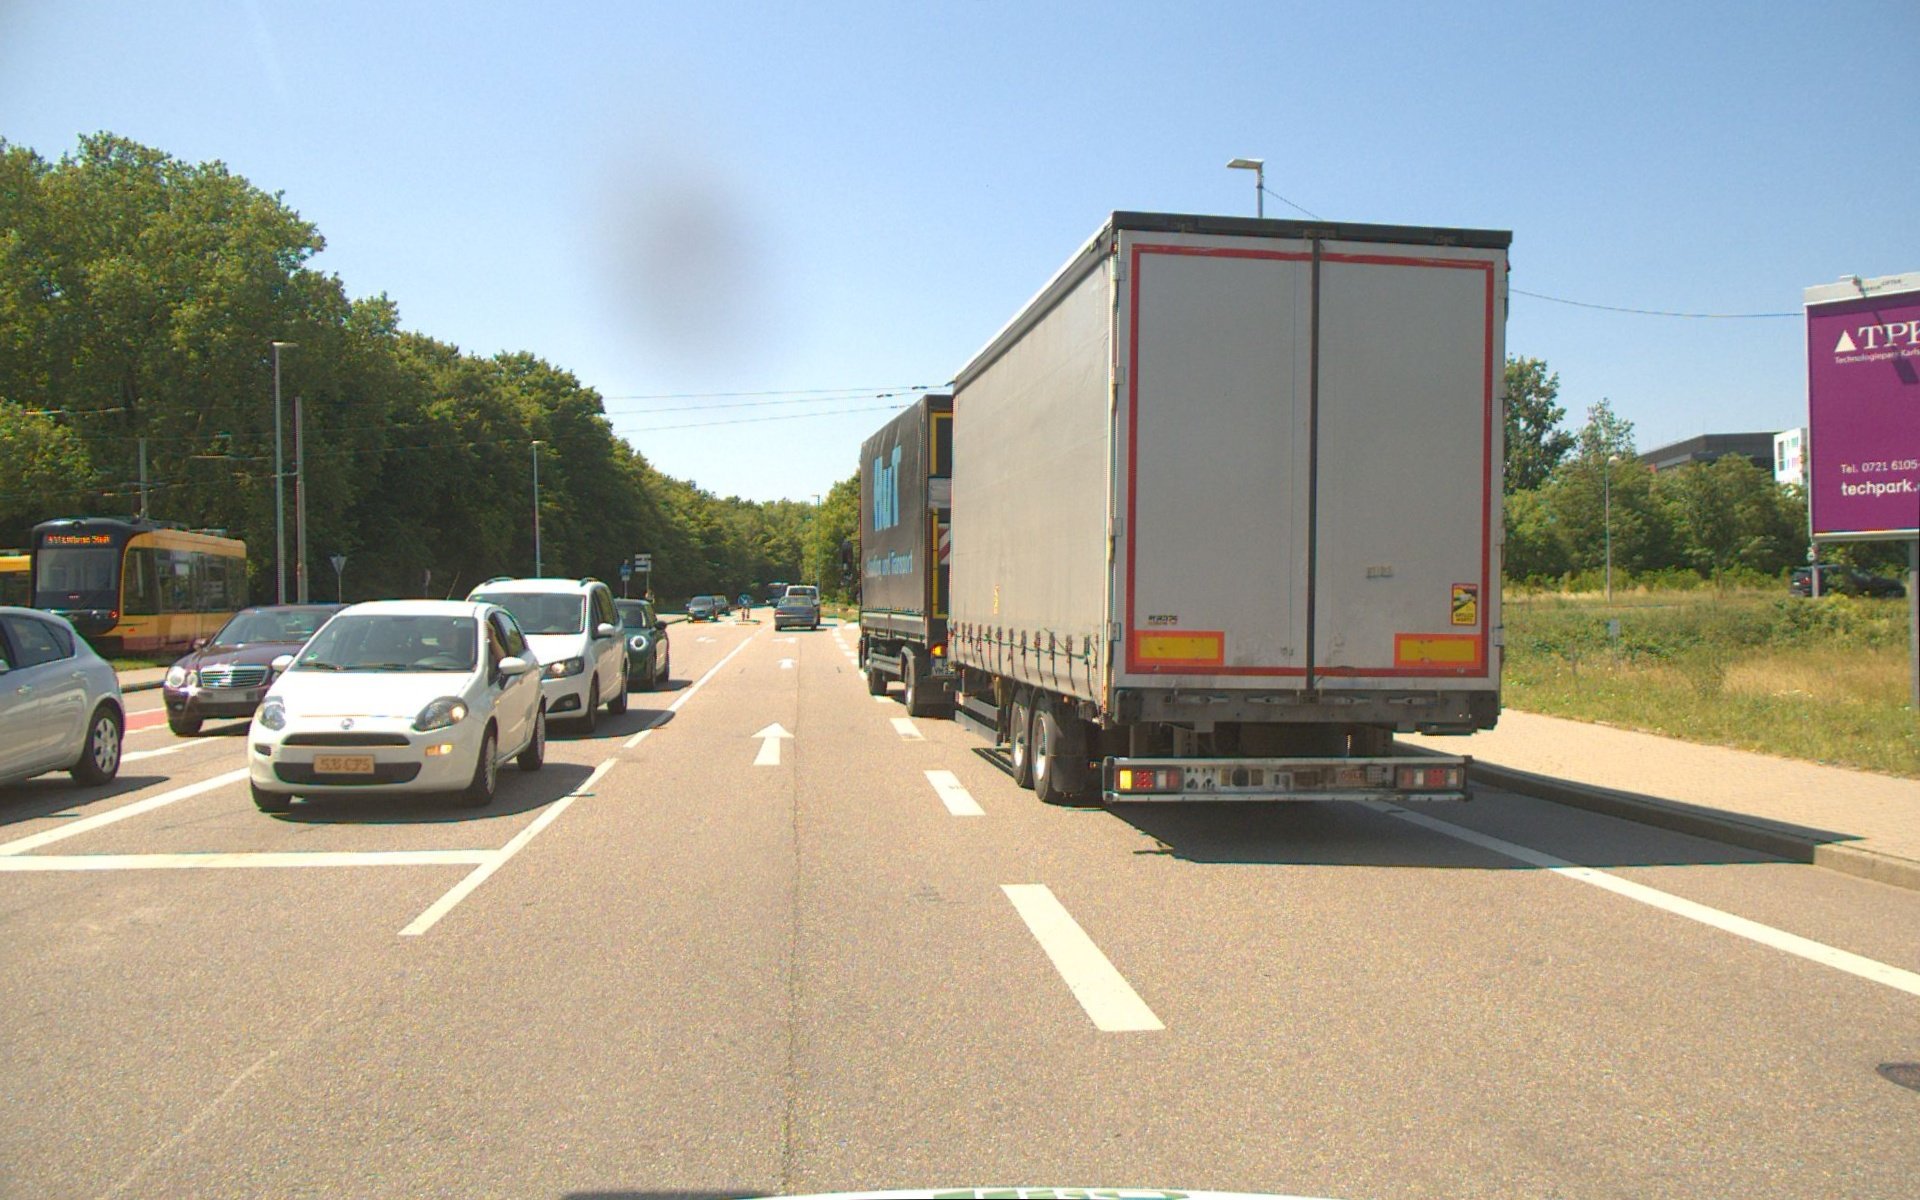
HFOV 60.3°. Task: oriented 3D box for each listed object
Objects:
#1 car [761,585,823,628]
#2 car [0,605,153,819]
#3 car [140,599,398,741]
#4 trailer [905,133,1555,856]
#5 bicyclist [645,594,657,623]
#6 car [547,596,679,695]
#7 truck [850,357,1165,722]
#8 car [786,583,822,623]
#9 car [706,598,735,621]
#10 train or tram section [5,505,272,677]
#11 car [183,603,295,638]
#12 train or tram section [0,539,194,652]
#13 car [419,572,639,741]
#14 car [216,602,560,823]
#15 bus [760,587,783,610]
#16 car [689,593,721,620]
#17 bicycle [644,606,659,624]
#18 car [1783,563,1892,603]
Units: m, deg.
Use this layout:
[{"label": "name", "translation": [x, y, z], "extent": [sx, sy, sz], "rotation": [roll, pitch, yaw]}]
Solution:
[{"label": "car", "translation": [-6.817, 0.227, 67.478], "extent": [1.984, 1.661, 4.001], "rotation": [-1, 0, 1]}, {"label": "car", "translation": [-7.678, 0.827, 11.968], "extent": [1.756, 1.481, 4.408], "rotation": [-2, 0, -5]}, {"label": "car", "translation": [-8.309, 0.763, 20.307], "extent": [1.726, 1.482, 4.280], "rotation": [-1, 0, -6]}, {"label": "trailer", "translation": [1.462, -0.645, 14.544], "extent": [3.019, 4.141, 9.793], "rotation": [0, 0, -7]}, {"label": "bicyclist", "translation": [-18.778, 0.493, 100.586], "extent": [0.652, 1.735, 0.768], "rotation": [0, 0, -4]}, {"label": "car", "translation": [-5.726, 0.701, 27.653], "extent": [1.689, 1.488, 3.986], "rotation": [-1, 1, -5]}, {"label": "truck", "translation": [0.305, -0.719, 22.911], "extent": [3.020, 4.141, 7.943], "rotation": [0, 0, -9]}, {"label": "car", "translation": [-7.823, 0.145, 83.158], "extent": [1.623, 1.940, 3.997], "rotation": [-1, 0, -4]}, {"label": "car", "translation": [-17.030, 0.678, 117.902], "extent": [1.709, 1.430, 4.437], "rotation": [-2, 1, -4]}, {"label": "train or tram section", "translation": [-21.504, -0.274, 44.369], "extent": [2.963, 3.824, 12.957], "rotation": [-3, 1, -11]}, {"label": "car", "translation": [-32.086, 0.917, 73.655], "extent": [4.209, 1.442, 1.667], "rotation": [-2, -1, 3]}, {"label": "train or tram section", "translation": [-34.899, -0.038, 62.348], "extent": [13.730, 3.824, 3.023], "rotation": [-2, 1, 27]}, {"label": "car", "translation": [-5.011, 0.568, 19.869], "extent": [1.776, 1.753, 4.826], "rotation": [-1, 1, -5]}, {"label": "car", "translation": [-4.331, 0.757, 13.142], "extent": [1.734, 1.463, 3.955], "rotation": [0, 0, -6]}, {"label": "bus", "translation": [-27.409, -0.234, 241.194], "extent": [2.696, 3.097, 11.927], "rotation": [-4, 1, -4]}, {"label": "car", "translation": [-14.905, 0.369, 96.708], "extent": [1.591, 1.481, 3.497], "rotation": [-2, 0, -5]}, {"label": "bicycle", "translation": [-18.780, 0.922, 100.590], "extent": [0.656, 1.073, 2.044], "rotation": [0, 1, -4]}, {"label": "car", "translation": [35.940, -0.700, 67.800], "extent": [3.541, 1.559, 1.706], "rotation": [0, 0, 0]}]
